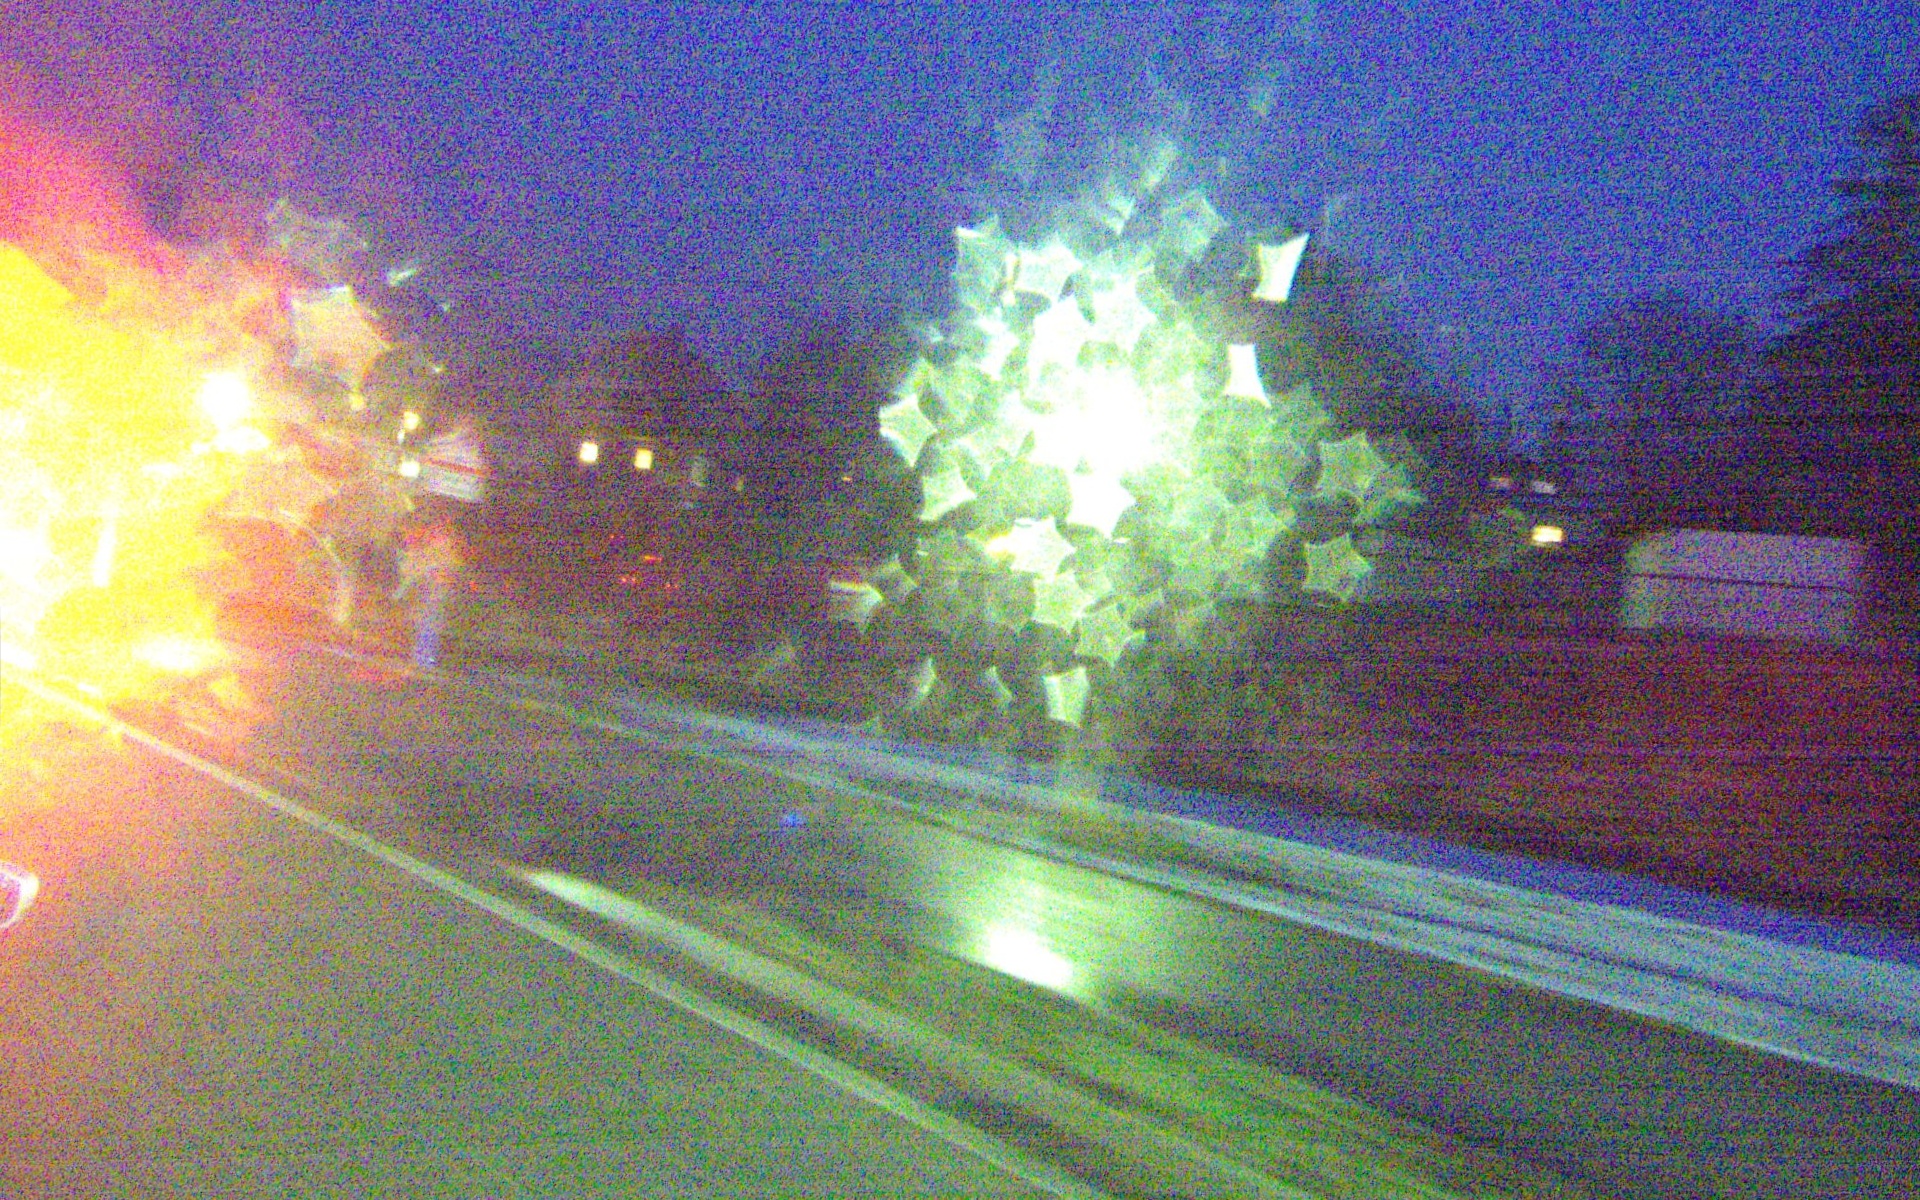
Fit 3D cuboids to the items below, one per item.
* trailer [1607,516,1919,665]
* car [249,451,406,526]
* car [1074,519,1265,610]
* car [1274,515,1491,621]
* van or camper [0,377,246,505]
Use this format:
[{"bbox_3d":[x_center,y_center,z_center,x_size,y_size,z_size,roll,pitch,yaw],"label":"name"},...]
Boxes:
[{"bbox_3d":[15.846,-0.136,18.943,5.614,2.096,2.234,7,-1,20],"label":"trailer"},{"bbox_3d":[-19.218,-3.388,30.600,4.056,1.637,1.643,8,-1,17],"label":"car"},{"bbox_3d":[4.752,-0.790,22.730,3.925,1.490,1.619,7,-1,18],"label":"car"},{"bbox_3d":[8.782,-0.664,21.260,3.925,1.659,1.619,7,-1,18],"label":"car"},{"bbox_3d":[-25.989,-4.907,31.285,6.238,2.943,2.590,7,0,16],"label":"van or camper"}]
